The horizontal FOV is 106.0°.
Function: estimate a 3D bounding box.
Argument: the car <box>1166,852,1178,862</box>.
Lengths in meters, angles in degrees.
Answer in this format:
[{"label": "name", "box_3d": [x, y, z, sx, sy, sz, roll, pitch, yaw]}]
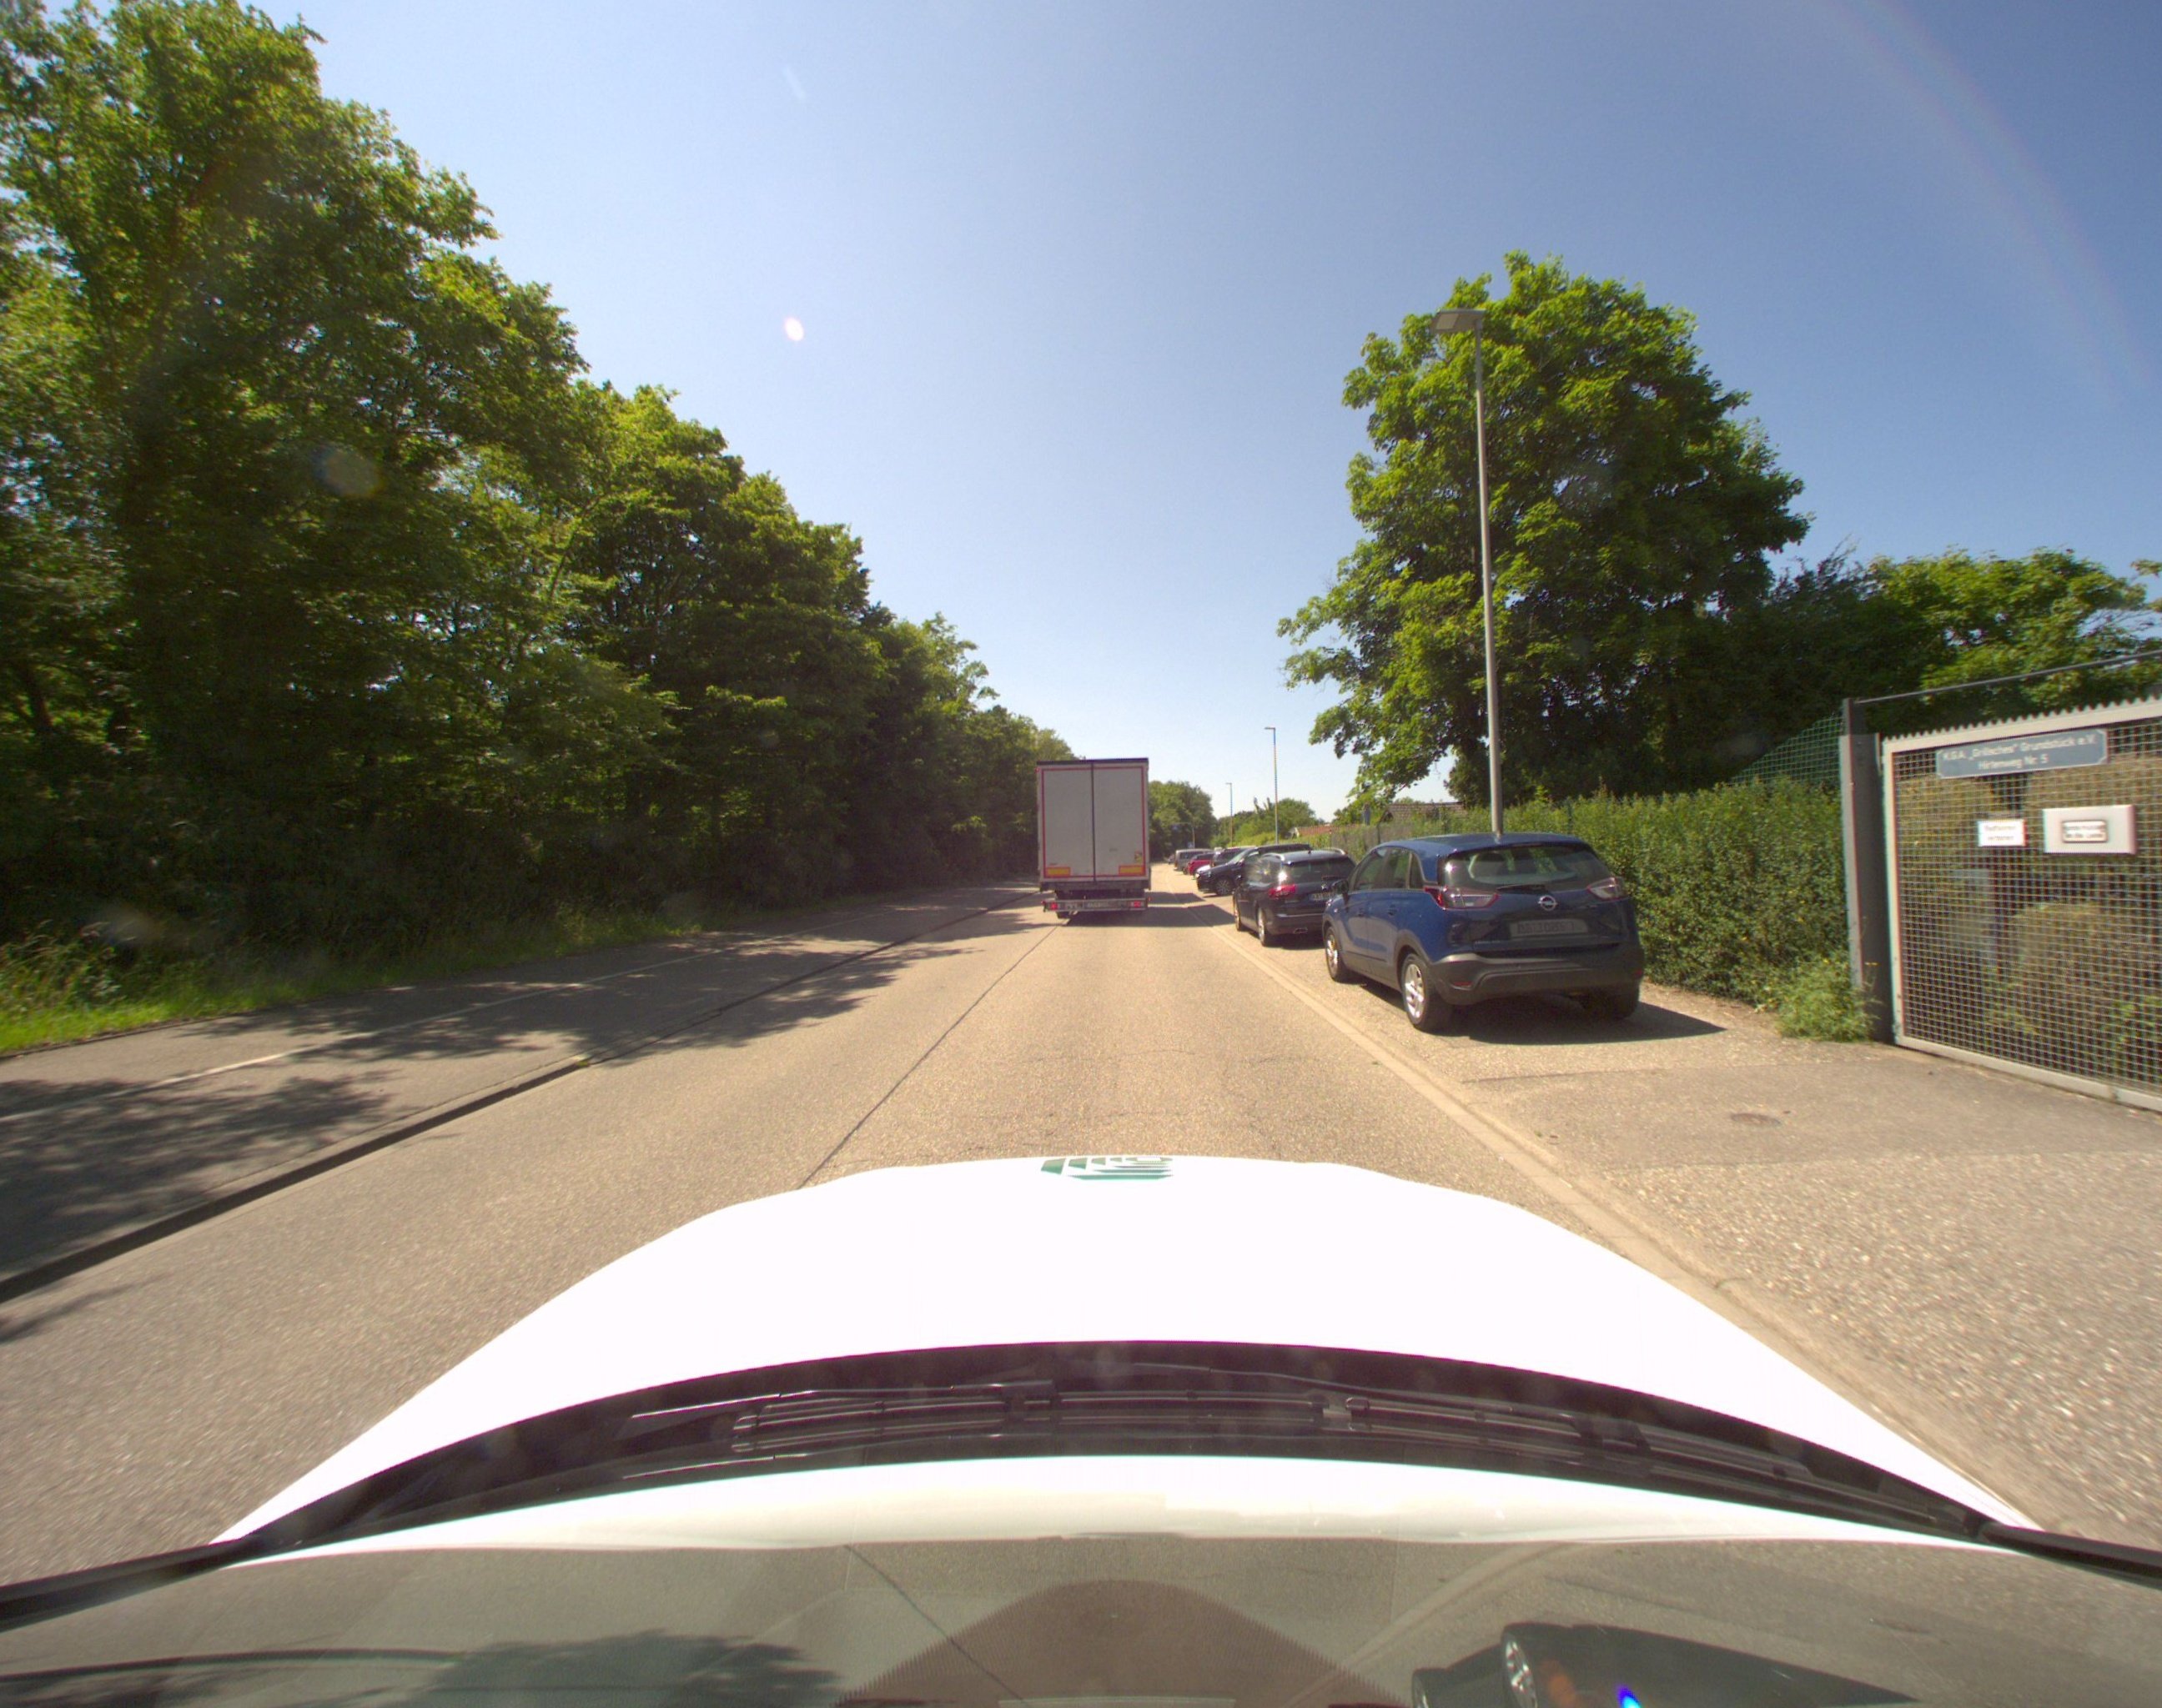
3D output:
[{"label": "car", "box_3d": [14.348, 0.530, 128.855, 1.771, 1.486, 4.009, -1, 0, 8]}]

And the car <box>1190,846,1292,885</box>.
[{"label": "car", "box_3d": [7.735, 0.550, 39.642, 4.541, 1.439, 1.962, -5, 0, 1]}]

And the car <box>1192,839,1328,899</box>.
[{"label": "car", "box_3d": [6.418, 0.516, 29.621, 4.452, 1.704, 1.915, -5, 0, 2]}]

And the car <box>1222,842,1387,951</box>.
[{"label": "car", "box_3d": [3.762, 0.630, 14.570, 1.782, 1.482, 4.668, -5, 0, 3]}]

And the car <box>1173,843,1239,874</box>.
[{"label": "car", "box_3d": [9.282, 0.302, 60.813, 4.597, 1.848, 1.999, -5, 0, 6]}]

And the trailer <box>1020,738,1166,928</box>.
[{"label": "trailer", "box_3d": [0.562, -0.458, 23.980, 3.100, 4.102, 11.545, -2, 0, 3]}]

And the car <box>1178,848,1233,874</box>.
[{"label": "car", "box_3d": [8.771, 0.493, 57.643, 3.564, 1.502, 1.842, -5, 0, 0]}]

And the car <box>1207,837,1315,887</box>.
[{"label": "car", "box_3d": [7.604, 0.346, 34.744, 4.236, 1.698, 1.857, -5, 0, 6]}]

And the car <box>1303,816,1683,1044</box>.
[{"label": "car", "box_3d": [3.606, 0.546, 8.094, 1.782, 1.603, 4.132, -3, 0, 2]}]

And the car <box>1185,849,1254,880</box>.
[{"label": "car", "box_3d": [8.284, 0.591, 49.068, 3.900, 1.478, 1.848, -5, 0, 5]}]

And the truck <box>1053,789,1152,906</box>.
[{"label": "truck", "box_3d": [0.907, -0.212, 30.065, 3.100, 3.725, 6.419, -3, 0, 3]}]
